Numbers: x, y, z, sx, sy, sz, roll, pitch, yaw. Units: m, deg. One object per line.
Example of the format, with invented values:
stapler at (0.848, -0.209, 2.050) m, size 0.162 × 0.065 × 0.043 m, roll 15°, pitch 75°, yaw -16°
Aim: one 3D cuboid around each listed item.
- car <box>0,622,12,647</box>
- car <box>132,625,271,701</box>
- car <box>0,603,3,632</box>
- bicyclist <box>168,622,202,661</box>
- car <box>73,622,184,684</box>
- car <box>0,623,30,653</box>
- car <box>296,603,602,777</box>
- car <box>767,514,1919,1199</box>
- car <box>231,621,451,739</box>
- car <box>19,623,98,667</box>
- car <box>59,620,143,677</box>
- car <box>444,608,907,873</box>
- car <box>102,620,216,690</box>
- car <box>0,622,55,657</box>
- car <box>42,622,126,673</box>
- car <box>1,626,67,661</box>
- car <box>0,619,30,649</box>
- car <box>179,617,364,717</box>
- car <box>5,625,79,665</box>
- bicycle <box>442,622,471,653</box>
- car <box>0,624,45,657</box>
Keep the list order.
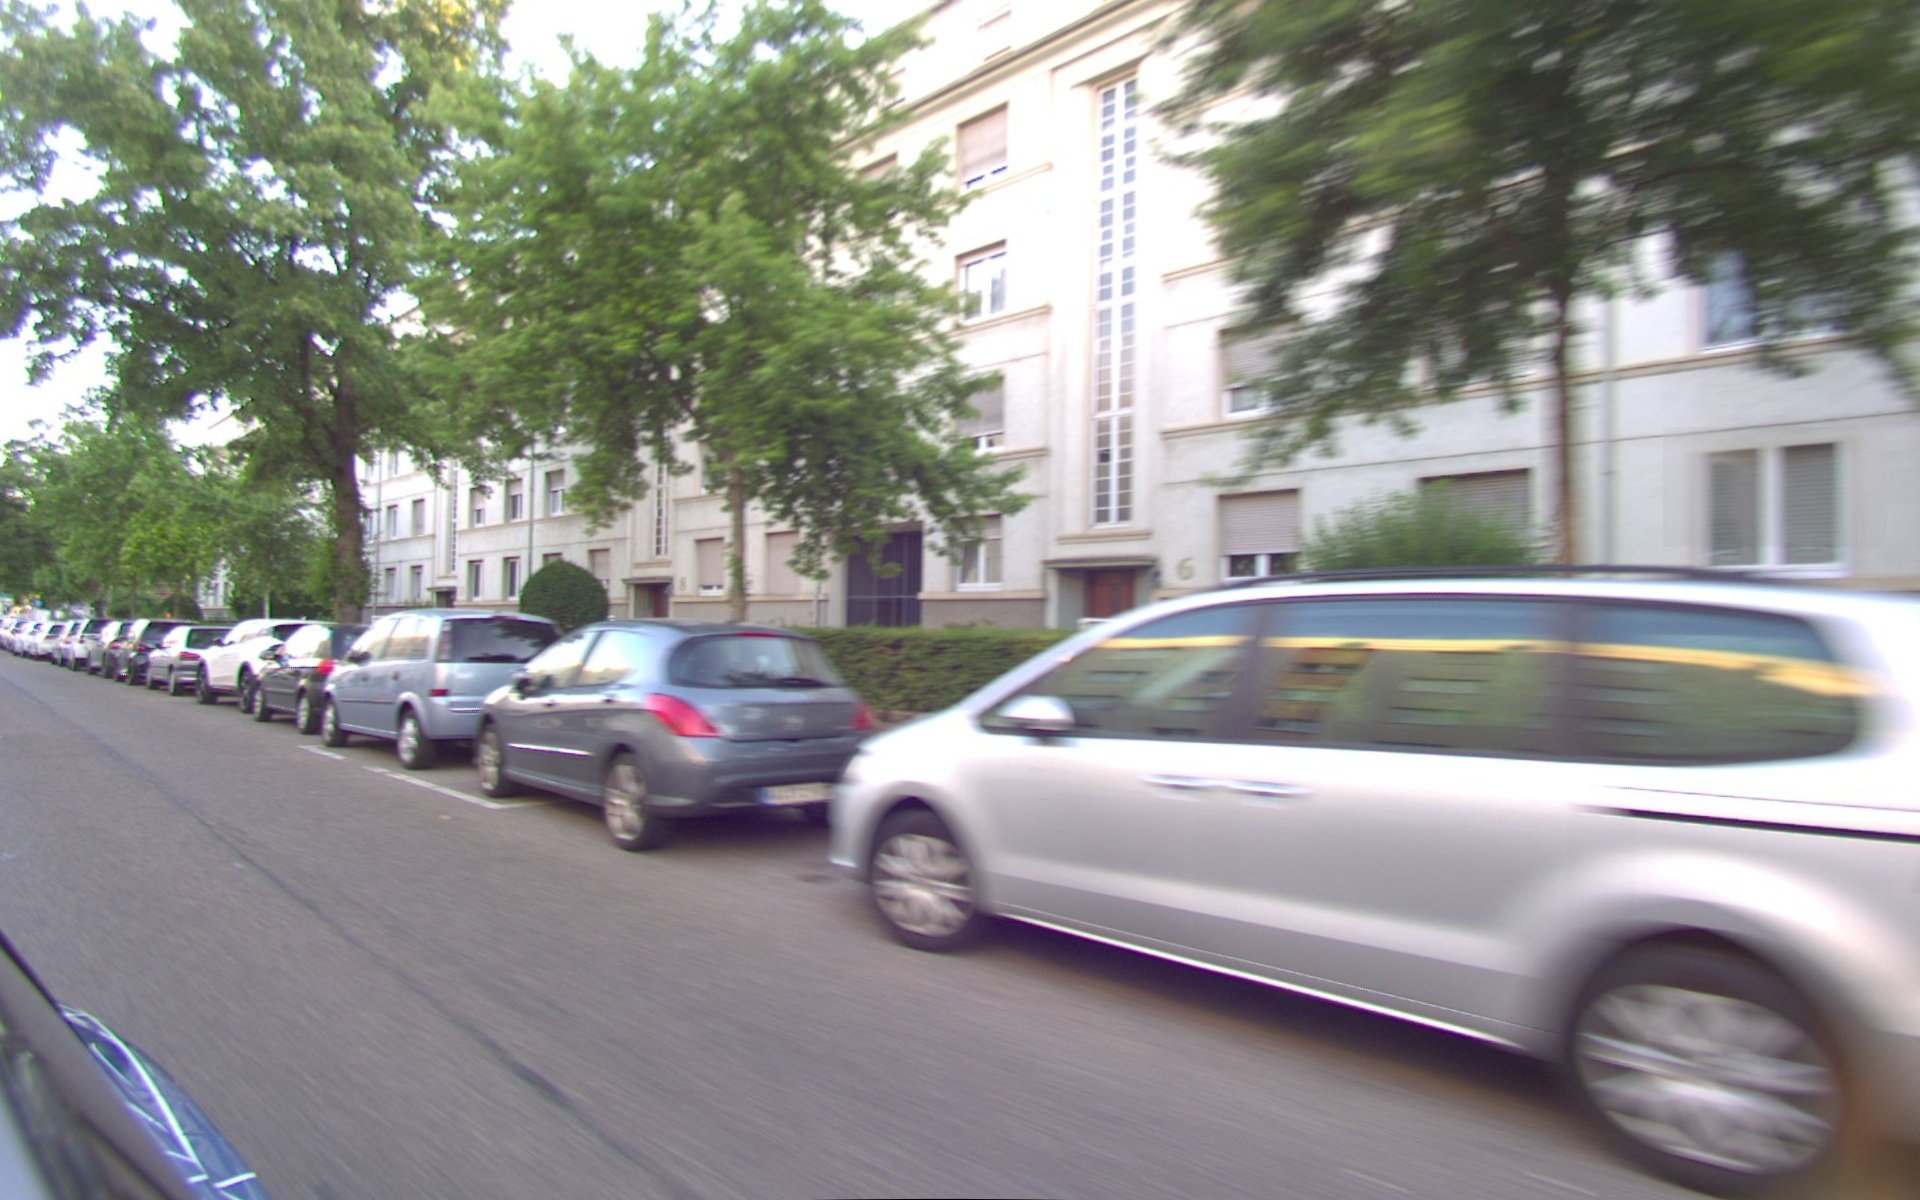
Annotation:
car at (-58.813, 2.047, 61.333) m, size 4.225 × 1.483 × 1.732 m, roll -1°, pitch -6°, yaw 44°
car at (-16.136, 1.302, 21.464) m, size 4.181 × 1.414 × 1.572 m, roll -1°, pitch -6°, yaw 43°
car at (-72.647, 1.415, 74.885) m, size 6.103 × 2.480 × 2.155 m, roll -1°, pitch -6°, yaw 43°
bicyclist at (-28.057, 1.491, 36.616) m, size 0.973 × 1.415 × 0.799 m, roll -1°, pitch -2°, yaw 43°
car at (-22.333, 1.404, 27.146) m, size 4.100 × 1.477 × 1.573 m, roll -1°, pitch -6°, yaw 42°
car at (-51.571, 2.016, 54.637) m, size 3.946 × 1.491 × 1.732 m, roll -1°, pitch -6°, yaw 45°
car at (-5.893, 0.930, 11.444) m, size 4.117 × 1.613 × 1.688 m, roll -1°, pitch -6°, yaw 43°
car at (1.469, 0.731, 4.219) m, size 4.857 × 1.704 × 1.827 m, roll -1°, pitch -4°, yaw 41°
car at (-9.004, 1.100, 14.598) m, size 3.844 × 1.463 × 1.688 m, roll -1°, pitch -6°, yaw 44°
car at (-33.432, 1.652, 37.496) m, size 4.483 × 1.471 × 1.673 m, roll -1°, pitch -6°, yaw 43°
car at (-25.754, 1.440, 30.326) m, size 1.572 × 1.541 × 2.923 m, roll 7°, pitch -6°, yaw -44°
car at (-2.453, 0.894, 7.951) m, size 1.712 × 1.508 × 4.275 m, roll 5°, pitch -5°, yaw -42°
car at (-19.206, 1.295, 24.235) m, size 3.163 × 1.541 × 1.507 m, roll -1°, pitch -6°, yaw 42°
car at (-43.886, 1.836, 47.414) m, size 3.703 × 1.471 × 1.657 m, roll -1°, pitch -5°, yaw 41°
car at (-28.842, 1.533, 33.293) m, size 3.799 × 1.516 × 1.573 m, roll -1°, pitch -6°, yaw 43°
car at (-40.507, 1.887, 44.239) m, size 4.579 × 1.342 × 1.656 m, roll -1°, pitch -6°, yaw 42°
car at (-54.761, 1.909, 57.927) m, size 4.106 × 1.644 × 1.734 m, roll -1°, pitch -6°, yaw 42°
car at (-12.160, 1.131, 17.780) m, size 4.204 × 1.550 × 1.573 m, roll -1°, pitch -5°, yaw 41°
car at (-36.933, 1.795, 40.682) m, size 4.143 × 1.471 × 1.674 m, roll -1°, pitch -6°, yaw 41°
bicycle at (-20.799, 1.544, 41.778) m, size 0.549 × 1.240 × 1.818 m, roll 2°, pitch -2°, yaw -44°
car at (-47.648, 2.007, 50.951) m, size 4.677 × 1.491 × 1.734 m, roll -1°, pitch -6°, yaw 42°
